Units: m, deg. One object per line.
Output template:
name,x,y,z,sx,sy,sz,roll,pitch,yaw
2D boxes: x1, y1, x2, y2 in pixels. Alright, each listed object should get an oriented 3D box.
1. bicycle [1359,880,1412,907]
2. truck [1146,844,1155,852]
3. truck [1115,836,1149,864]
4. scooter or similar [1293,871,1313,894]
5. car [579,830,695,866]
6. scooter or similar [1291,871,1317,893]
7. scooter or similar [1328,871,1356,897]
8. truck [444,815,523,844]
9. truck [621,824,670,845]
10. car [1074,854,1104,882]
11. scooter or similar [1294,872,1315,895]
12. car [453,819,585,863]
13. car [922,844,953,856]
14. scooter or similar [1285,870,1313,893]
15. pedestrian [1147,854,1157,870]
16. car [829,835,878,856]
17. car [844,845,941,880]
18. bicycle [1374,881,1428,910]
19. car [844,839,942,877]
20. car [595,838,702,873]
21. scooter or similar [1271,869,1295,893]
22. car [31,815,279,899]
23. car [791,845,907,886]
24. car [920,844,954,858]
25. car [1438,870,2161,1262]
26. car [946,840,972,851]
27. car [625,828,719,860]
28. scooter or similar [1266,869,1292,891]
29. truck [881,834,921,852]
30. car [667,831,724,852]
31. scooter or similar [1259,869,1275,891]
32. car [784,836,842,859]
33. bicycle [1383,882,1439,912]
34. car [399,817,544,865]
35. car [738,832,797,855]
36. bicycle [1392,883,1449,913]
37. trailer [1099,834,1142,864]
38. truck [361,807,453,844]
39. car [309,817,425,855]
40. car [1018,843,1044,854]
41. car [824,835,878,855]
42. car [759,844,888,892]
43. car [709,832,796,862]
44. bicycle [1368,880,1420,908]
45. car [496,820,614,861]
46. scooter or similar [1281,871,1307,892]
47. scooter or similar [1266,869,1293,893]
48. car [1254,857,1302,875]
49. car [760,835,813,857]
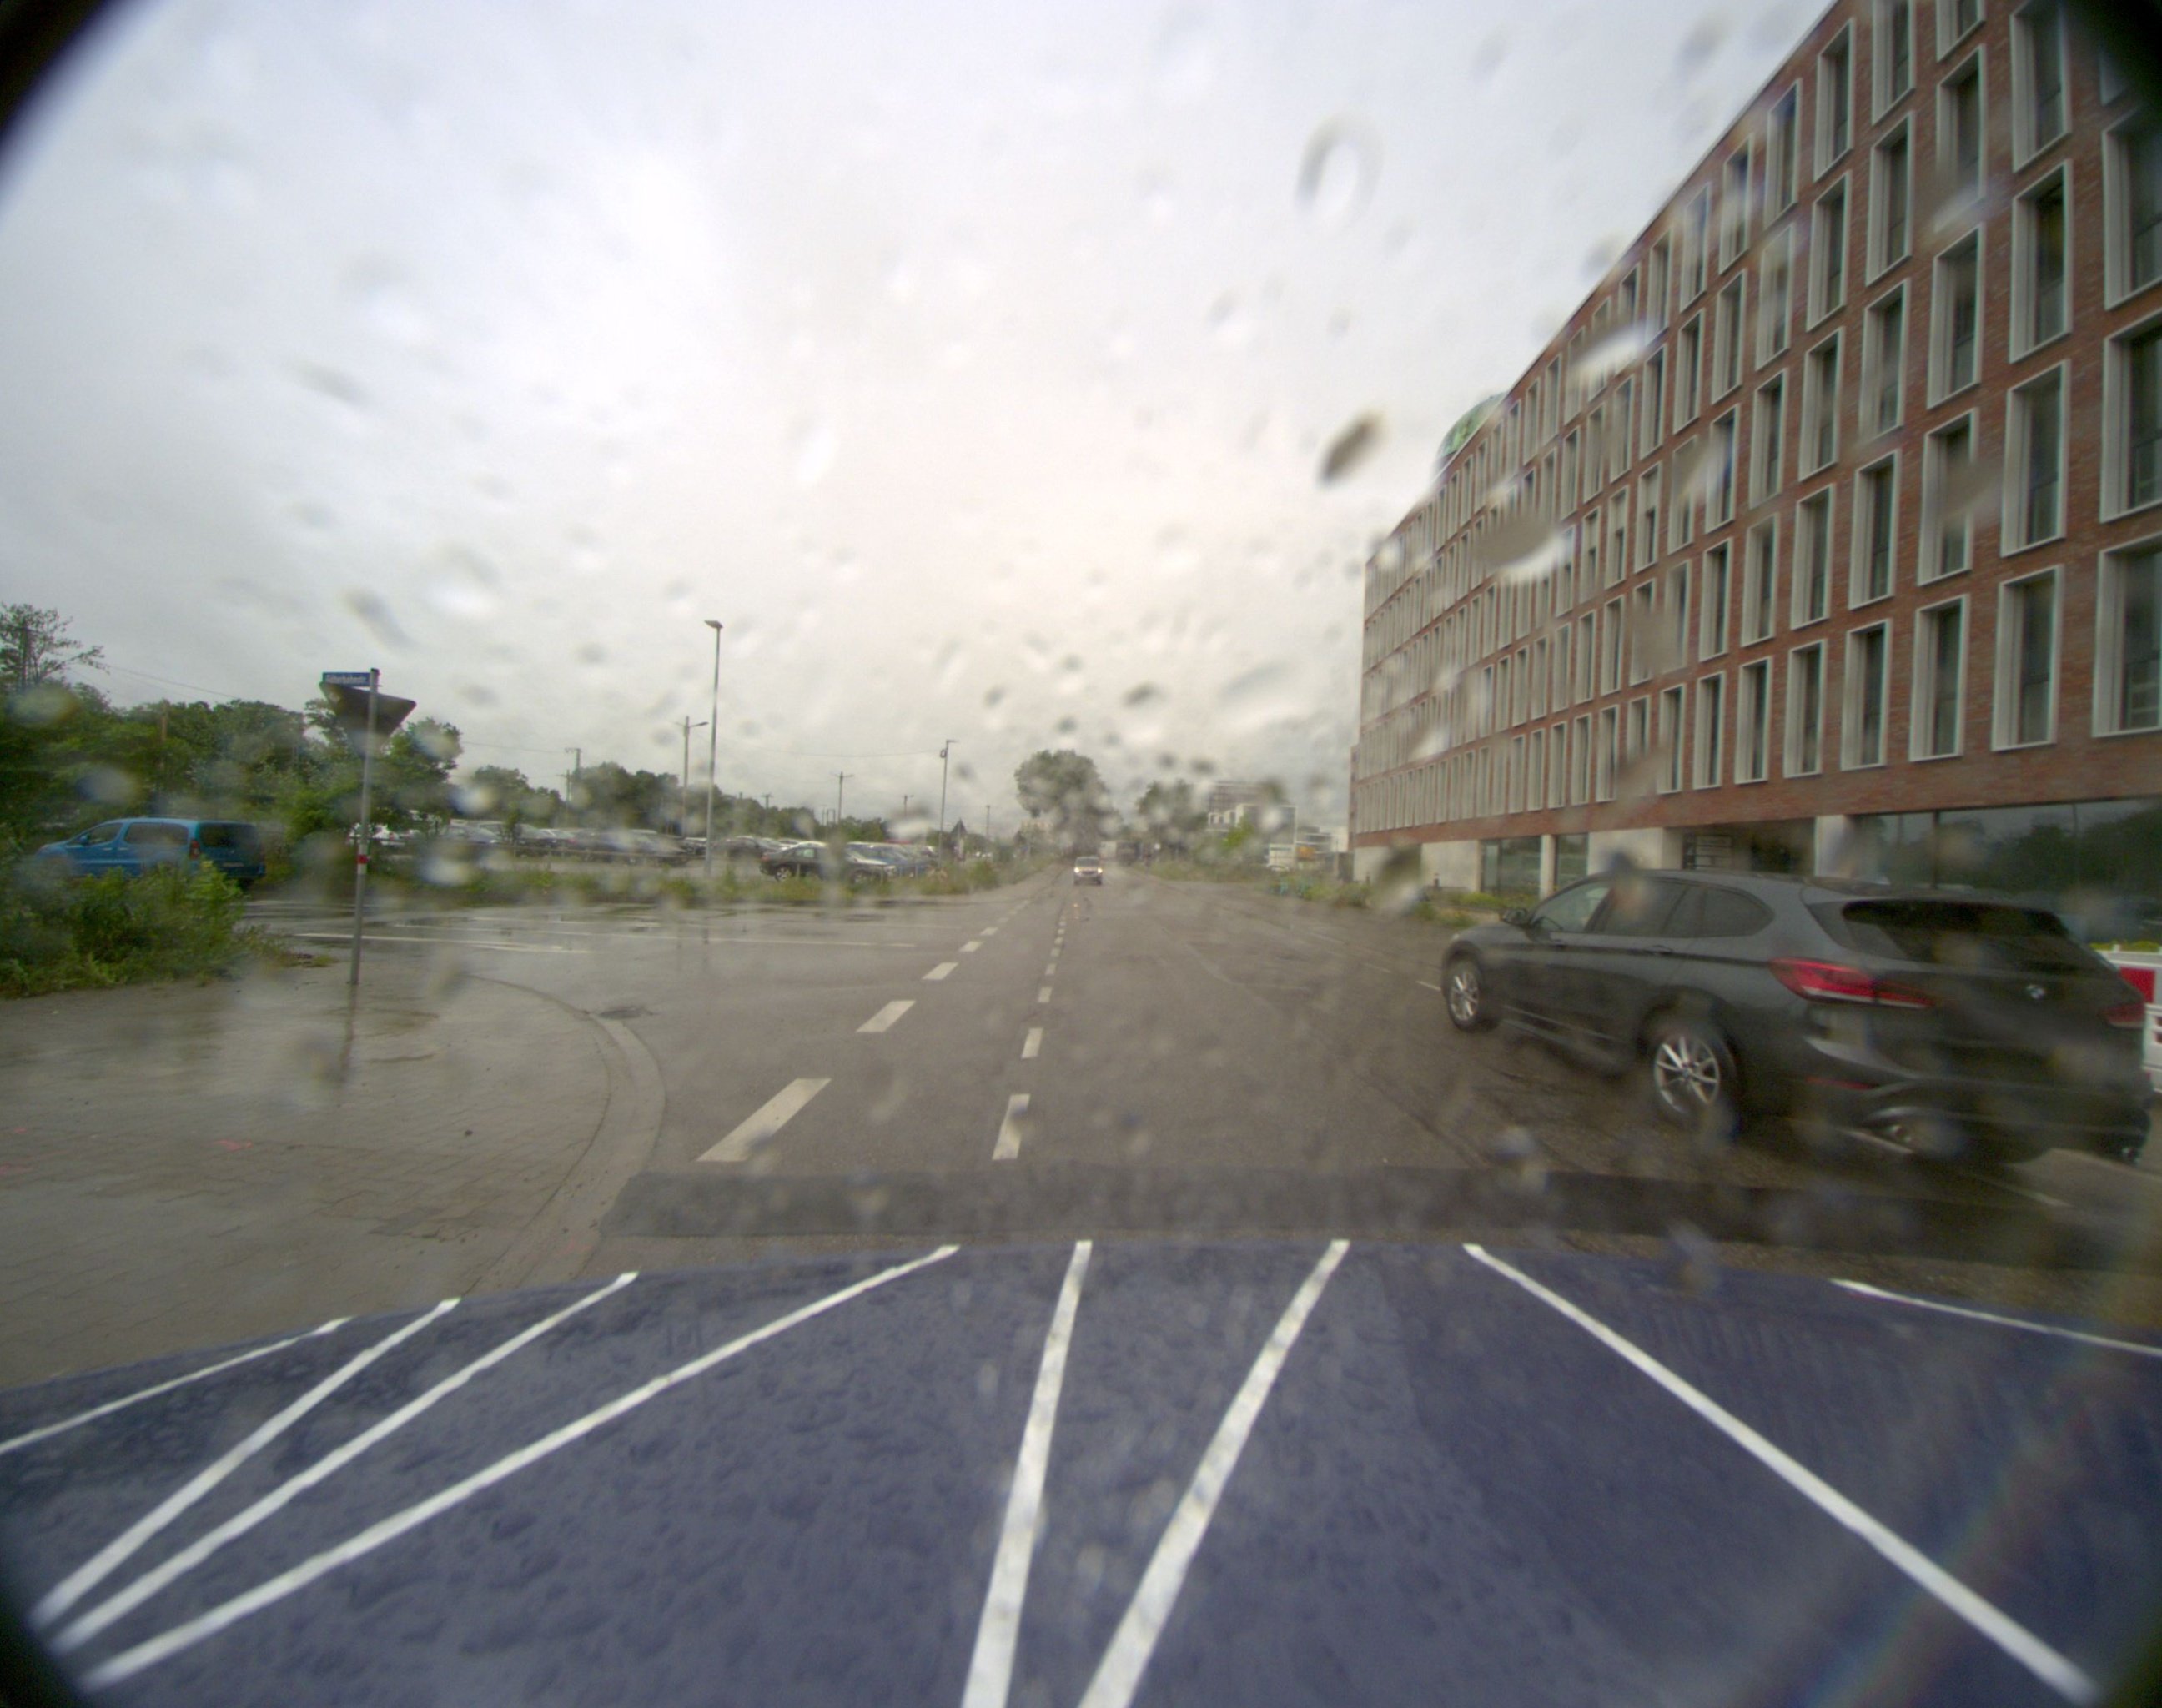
bicycle,12.593,1.631,31.449,1.953,1.071,0.620,1,1,-1
truck,23.541,-2.142,257.509,2.090,2.604,6.975,3,1,-1
truck,8.838,-0.705,131.179,3.295,4.627,6.046,3,1,29
scooter or similar,11.880,1.537,40.711,0.466,1.223,1.211,4,1,43
car,-19.649,-0.277,33.745,3.997,1.401,2.000,2,2,1
scooter or similar,12.715,1.592,43.293,1.319,1.171,0.467,3,1,6
scooter or similar,13.170,1.512,38.359,1.228,1.201,0.418,3,1,7
truck,-48.716,-1.941,62.139,2.076,2.125,5.086,3,0,5
truck,-47.524,-2.081,83.057,2.086,2.002,5.280,3,0,2
car,0.478,0.879,50.187,1.838,1.714,4.172,2,0,-1
scooter or similar,11.778,1.562,40.042,0.466,1.201,1.211,4,1,43
car,-26.040,-0.622,35.326,4.453,1.663,2.042,5,2,-3
car,-20.589,-0.558,108.921,3.961,1.419,1.887,4,2,2
scooter or similar,11.983,1.515,41.807,1.321,1.171,0.467,3,1,-12
pedestrian,7.696,0.902,82.838,0.911,1.708,1.026,3,1,0
car,-21.289,-0.808,71.043,3.911,1.575,1.786,5,2,3
car,-9.243,0.410,37.491,4.306,1.508,1.819,2,2,1
bicycle,12.604,1.636,29.947,1.864,1.071,0.544,1,1,-1
car,-10.192,0.196,41.448,4.691,1.725,2.128,3,2,5
car,-20.610,0.060,36.321,3.997,1.477,2.000,2,2,1
scooter or similar,11.412,1.521,42.914,0.468,1.223,1.317,3,1,-28
car,-23.626,0.074,19.510,3.997,1.911,1.831,2,0,-1
car,-9.572,0.448,31.530,4.192,1.501,1.890,2,2,1
car,-19.003,-0.367,100.385,3.961,1.481,1.778,4,2,2
car,4.436,1.000,5.449,1.763,1.559,4.150,5,0,1
car,-20.551,-1.443,128.285,3.961,1.528,1.807,4,2,2
car,-25.789,-0.664,47.995,4.714,1.596,2.043,5,2,0
scooter or similar,11.688,1.530,44.799,1.316,1.223,0.509,4,1,39
truck,-26.514,-1.606,111.881,5.302,2.354,2.153,3,1,0
car,-36.977,-1.201,72.897,4.329,1.711,2.020,3,1,-2
scooter or similar,10.808,1.490,44.169,0.467,1.223,1.320,3,0,-3
car,-21.188,-0.554,60.133,3.838,1.476,1.928,5,2,3
bicycle,12.603,1.638,29.045,1.864,1.071,0.544,1,1,-1
car,-26.136,-0.579,32.707,4.453,1.663,2.042,5,2,-3
car,-26.592,-0.876,64.495,4.070,1.596,1.926,5,2,1
bicycle,12.623,1.633,28.246,1.864,1.071,0.544,1,1,-1
trailer,6.615,-0.760,124.801,3.297,4.627,13.753,3,1,18
truck,-48.911,-2.034,55.336,2.077,2.388,5.083,3,0,0
car,-37.387,-0.919,39.862,4.000,1.718,1.896,3,1,-9
car,-7.869,-0.836,119.157,3.906,1.586,1.896,2,2,-2
car,-20.504,-0.811,67.867,4.054,1.476,1.928,5,2,3
car,-9.634,0.523,28.692,4.231,1.392,1.888,5,1,-8
car,-20.700,-0.466,48.044,4.633,1.706,2.017,2,2,-5
bicycle,12.607,1.623,30.607,1.864,1.071,0.544,1,1,-1
car,-26.436,-0.686,38.306,4.452,1.663,2.043,5,2,0
scooter or similar,12.304,1.585,43.880,1.319,1.171,0.467,3,1,6
scooter or similar,10.851,1.494,41.520,1.317,1.223,0.468,4,1,29
car,21.205,1.303,81.920,4.534,1.632,1.999,3,1,-3
car,-27.334,-0.762,70.558,4.071,1.650,1.831,5,2,-2
